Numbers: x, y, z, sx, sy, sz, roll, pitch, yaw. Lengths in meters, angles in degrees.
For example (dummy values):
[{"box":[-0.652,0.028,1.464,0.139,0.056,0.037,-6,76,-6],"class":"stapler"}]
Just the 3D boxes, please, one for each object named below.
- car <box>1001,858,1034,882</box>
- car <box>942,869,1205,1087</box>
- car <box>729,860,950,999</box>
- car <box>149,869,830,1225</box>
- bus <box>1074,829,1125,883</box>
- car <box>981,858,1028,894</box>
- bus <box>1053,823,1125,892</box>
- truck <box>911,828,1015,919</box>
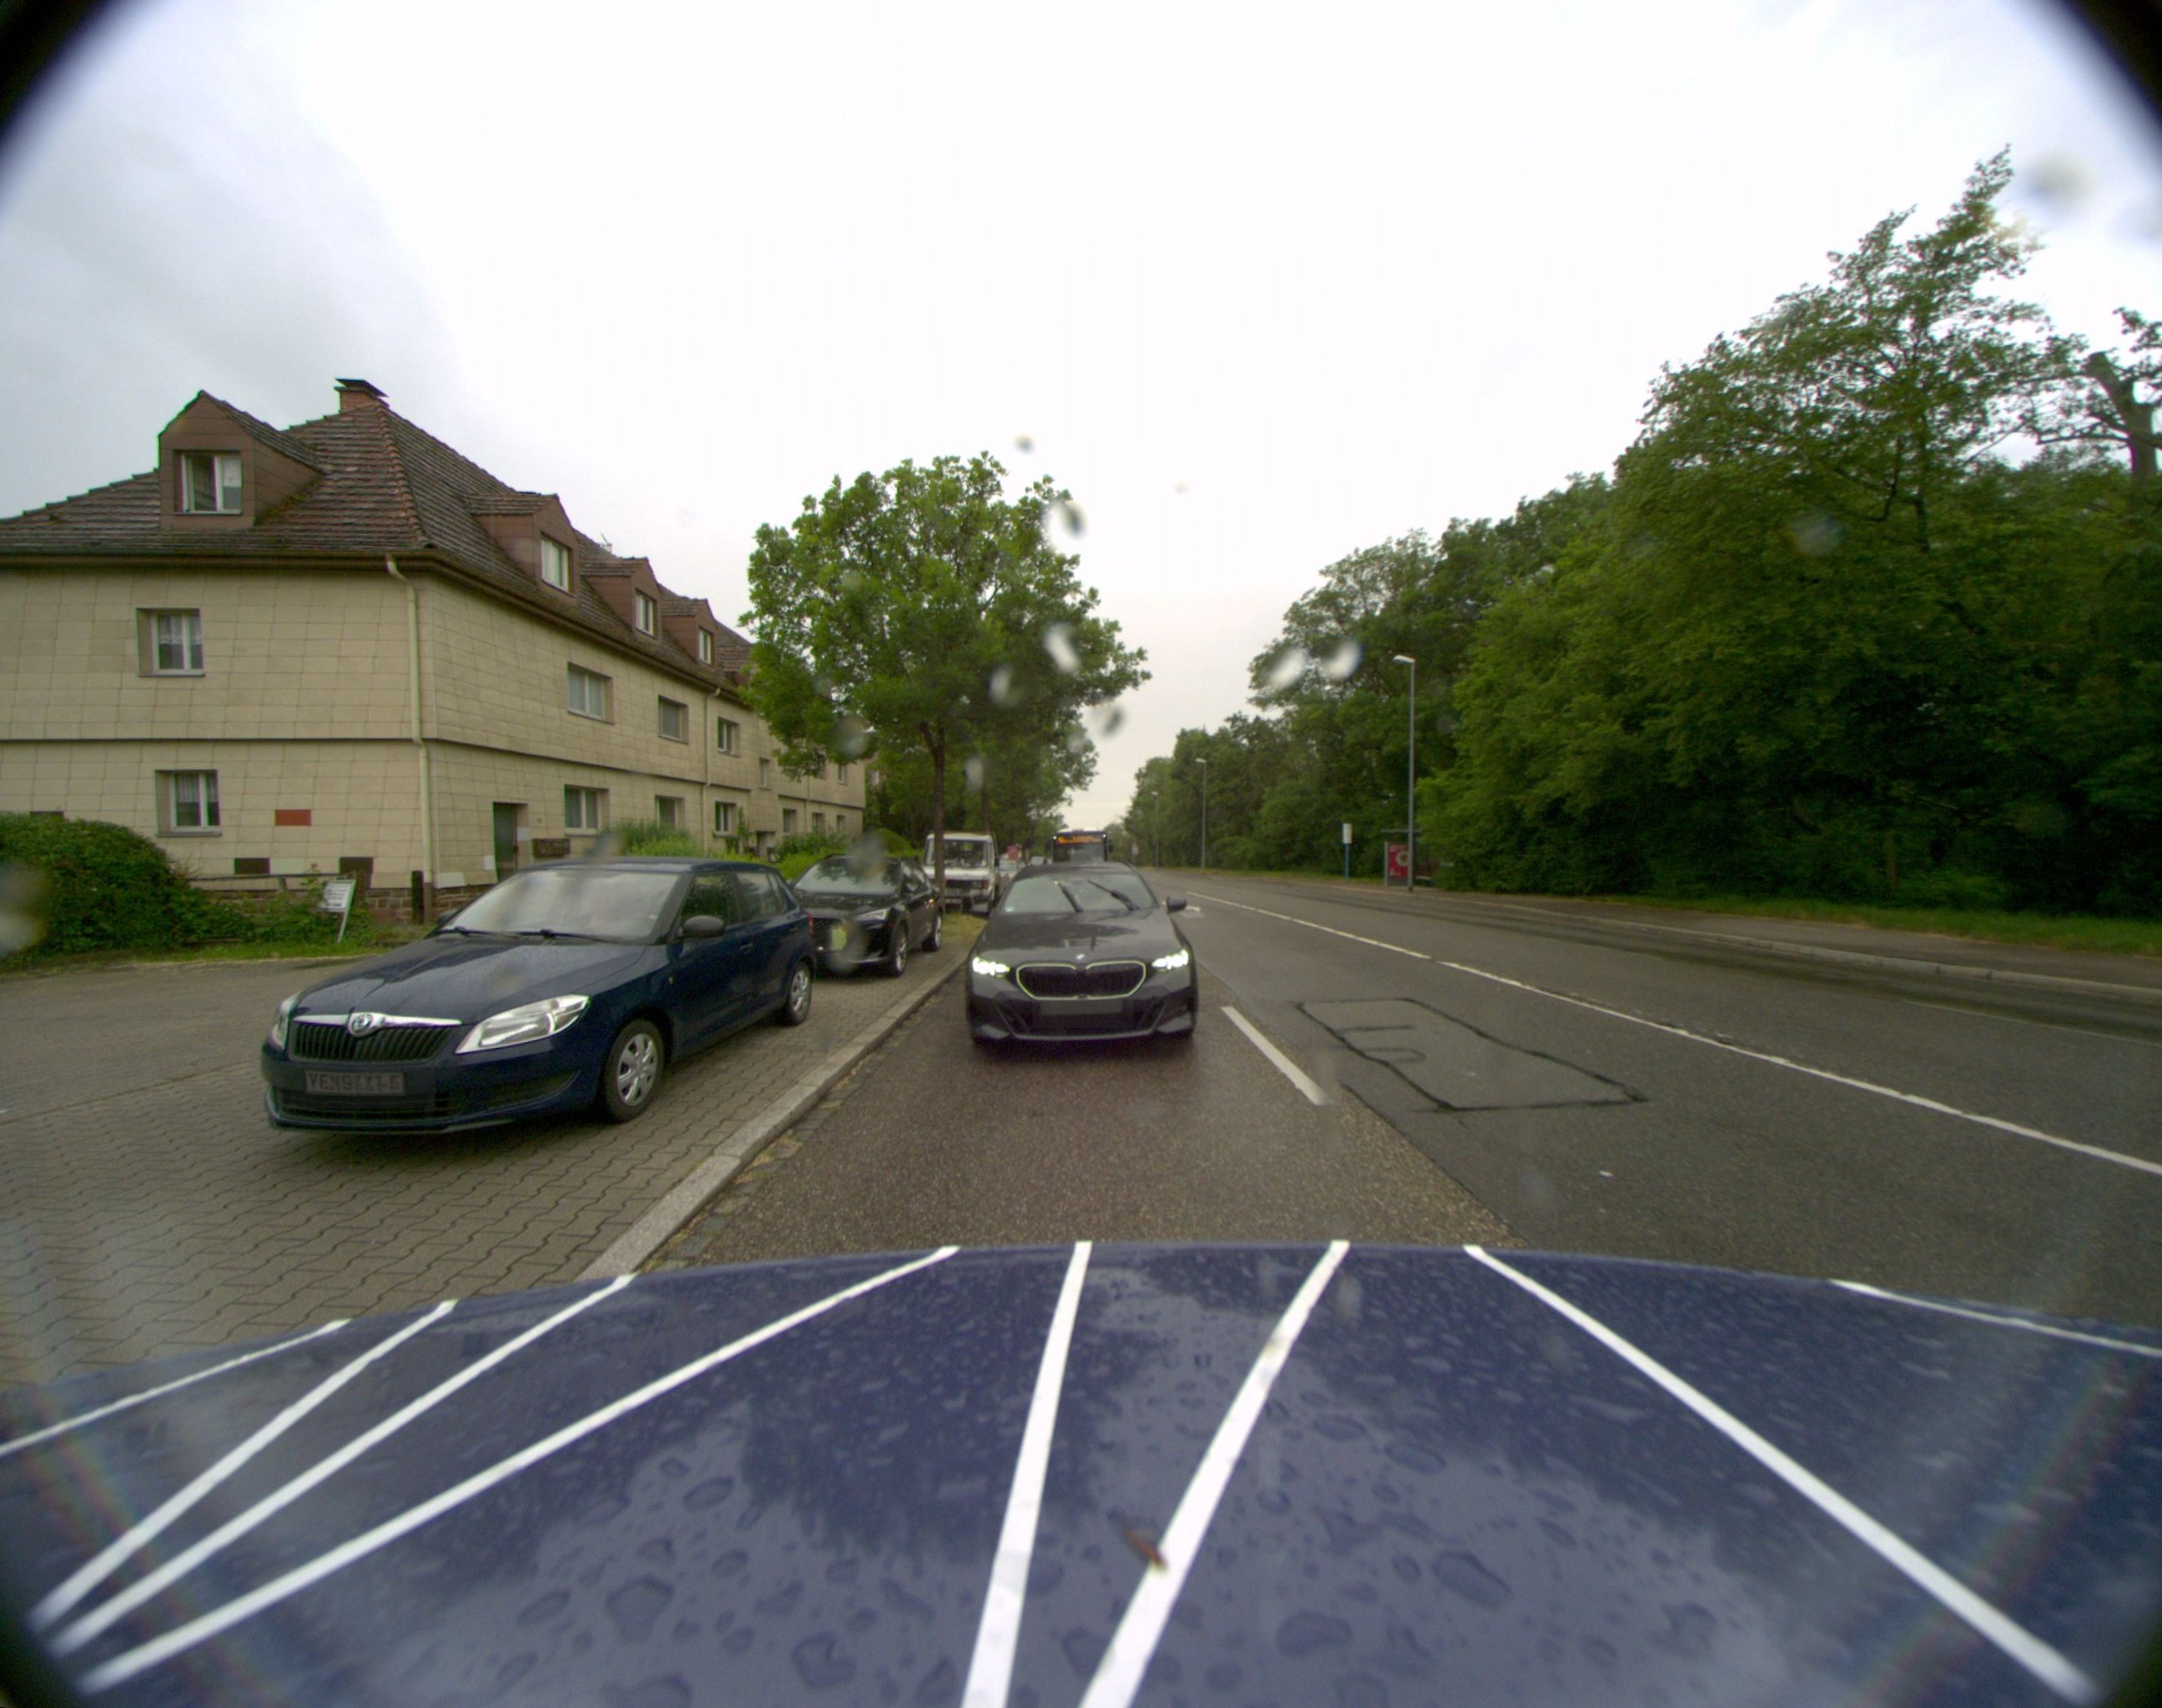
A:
[{"box":[-3.877,0.939,46.974,1.692,1.381,4.499,1,0,-1],"class":"car"},{"box":[-0.067,0.933,7.703,1.855,1.461,4.483,-1,0,0],"class":"car"},{"box":[-3.075,0.864,10.638,1.718,1.490,4.183,2,0,0],"class":"car"},{"box":[-3.223,0.875,5.237,1.608,1.463,3.856,1,0,1],"class":"car"},{"box":[0.982,0.122,46.554,2.562,2.942,8.555,-1,0,-2],"class":"bus"},{"box":[-3.299,0.957,33.335,1.605,1.427,4.022,2,-2,0],"class":"car"},{"box":[0.613,0.148,37.728,2.561,2.942,9.454,-1,0,6],"class":"bus"},{"box":[-3.241,0.497,22.281,2.085,2.208,6.500,2,0,-1],"class":"truck"}]
